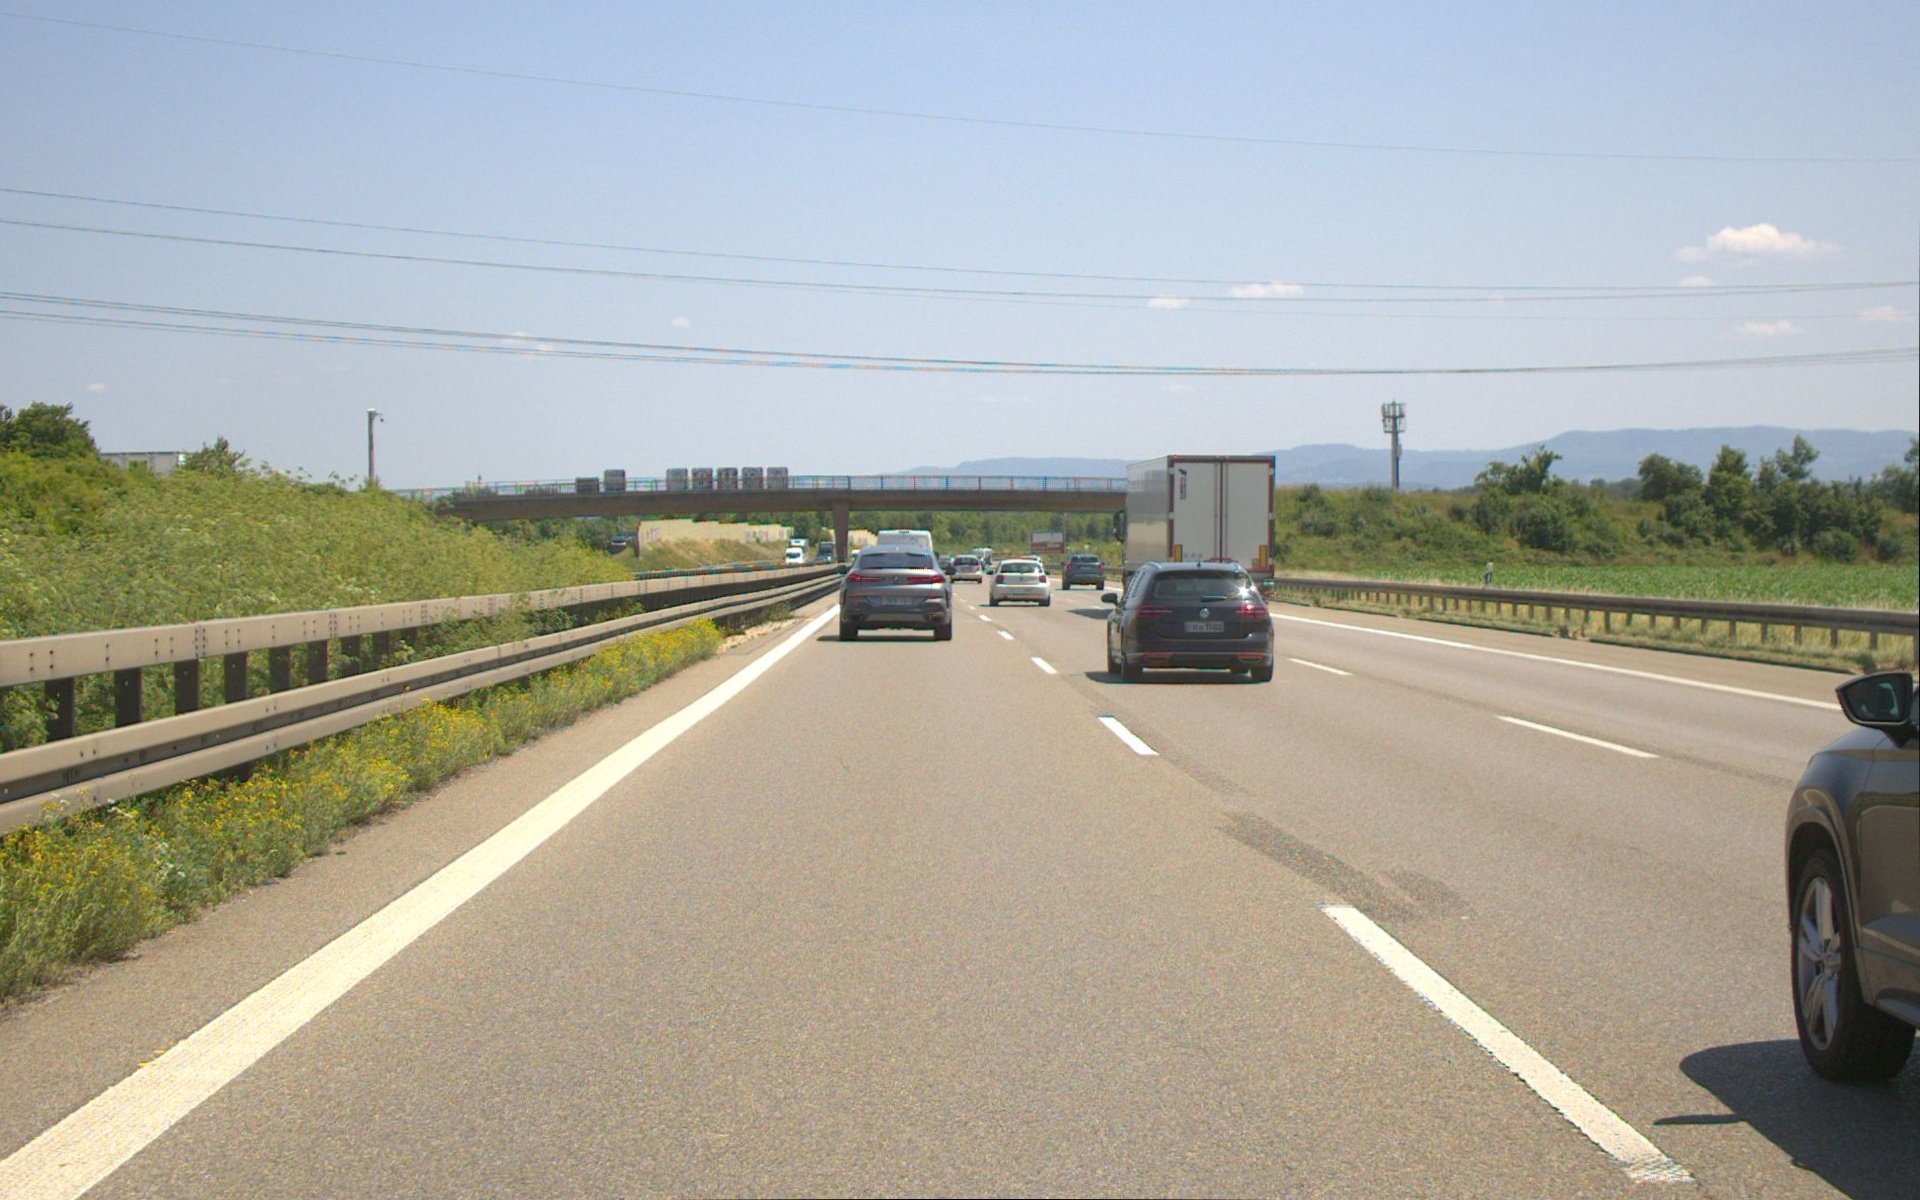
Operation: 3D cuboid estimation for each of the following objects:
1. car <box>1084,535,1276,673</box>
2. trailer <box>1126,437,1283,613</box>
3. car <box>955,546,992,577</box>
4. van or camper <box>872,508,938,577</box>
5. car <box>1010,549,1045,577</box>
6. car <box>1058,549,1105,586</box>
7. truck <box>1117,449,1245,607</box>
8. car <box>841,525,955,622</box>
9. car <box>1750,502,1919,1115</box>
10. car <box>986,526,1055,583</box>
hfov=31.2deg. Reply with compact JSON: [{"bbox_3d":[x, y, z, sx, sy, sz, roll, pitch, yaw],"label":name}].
[{"bbox_3d":[2.644,0.012,42.414,1.933,1.569,4.935,1,1,-1],"label":"car"},{"bbox_3d":[6.190,-1.891,89.194,2.943,4.184,13.597,1,1,0],"label":"trailer"},{"bbox_3d":[0.748,-2.156,192.466,1.993,1.677,4.000,1,1,0],"label":"car"},{"bbox_3d":[-1.803,-1.901,114.076,2.110,2.204,5.266,1,1,0],"label":"van or camper"},{"bbox_3d":[4.196,-2.324,213.996,1.993,1.677,4.000,1,1,0],"label":"car"},{"bbox_3d":[5.563,-1.504,157.971,1.993,1.677,4.000,1,1,0],"label":"car"},{"bbox_3d":[6.130,-1.992,96.491,2.979,4.213,7.687,1,1,0],"label":"truck"},{"bbox_3d":[-1.138,-0.484,61.156,1.851,1.658,3.735,1,1,-3],"label":"car"},{"bbox_3d":[3.346,0.542,8.650,1.796,1.556,3.824,1,1,0],"label":"car"},{"bbox_3d":[1.828,-1.380,104.721,1.993,1.677,4.000,1,1,0],"label":"car"}]
